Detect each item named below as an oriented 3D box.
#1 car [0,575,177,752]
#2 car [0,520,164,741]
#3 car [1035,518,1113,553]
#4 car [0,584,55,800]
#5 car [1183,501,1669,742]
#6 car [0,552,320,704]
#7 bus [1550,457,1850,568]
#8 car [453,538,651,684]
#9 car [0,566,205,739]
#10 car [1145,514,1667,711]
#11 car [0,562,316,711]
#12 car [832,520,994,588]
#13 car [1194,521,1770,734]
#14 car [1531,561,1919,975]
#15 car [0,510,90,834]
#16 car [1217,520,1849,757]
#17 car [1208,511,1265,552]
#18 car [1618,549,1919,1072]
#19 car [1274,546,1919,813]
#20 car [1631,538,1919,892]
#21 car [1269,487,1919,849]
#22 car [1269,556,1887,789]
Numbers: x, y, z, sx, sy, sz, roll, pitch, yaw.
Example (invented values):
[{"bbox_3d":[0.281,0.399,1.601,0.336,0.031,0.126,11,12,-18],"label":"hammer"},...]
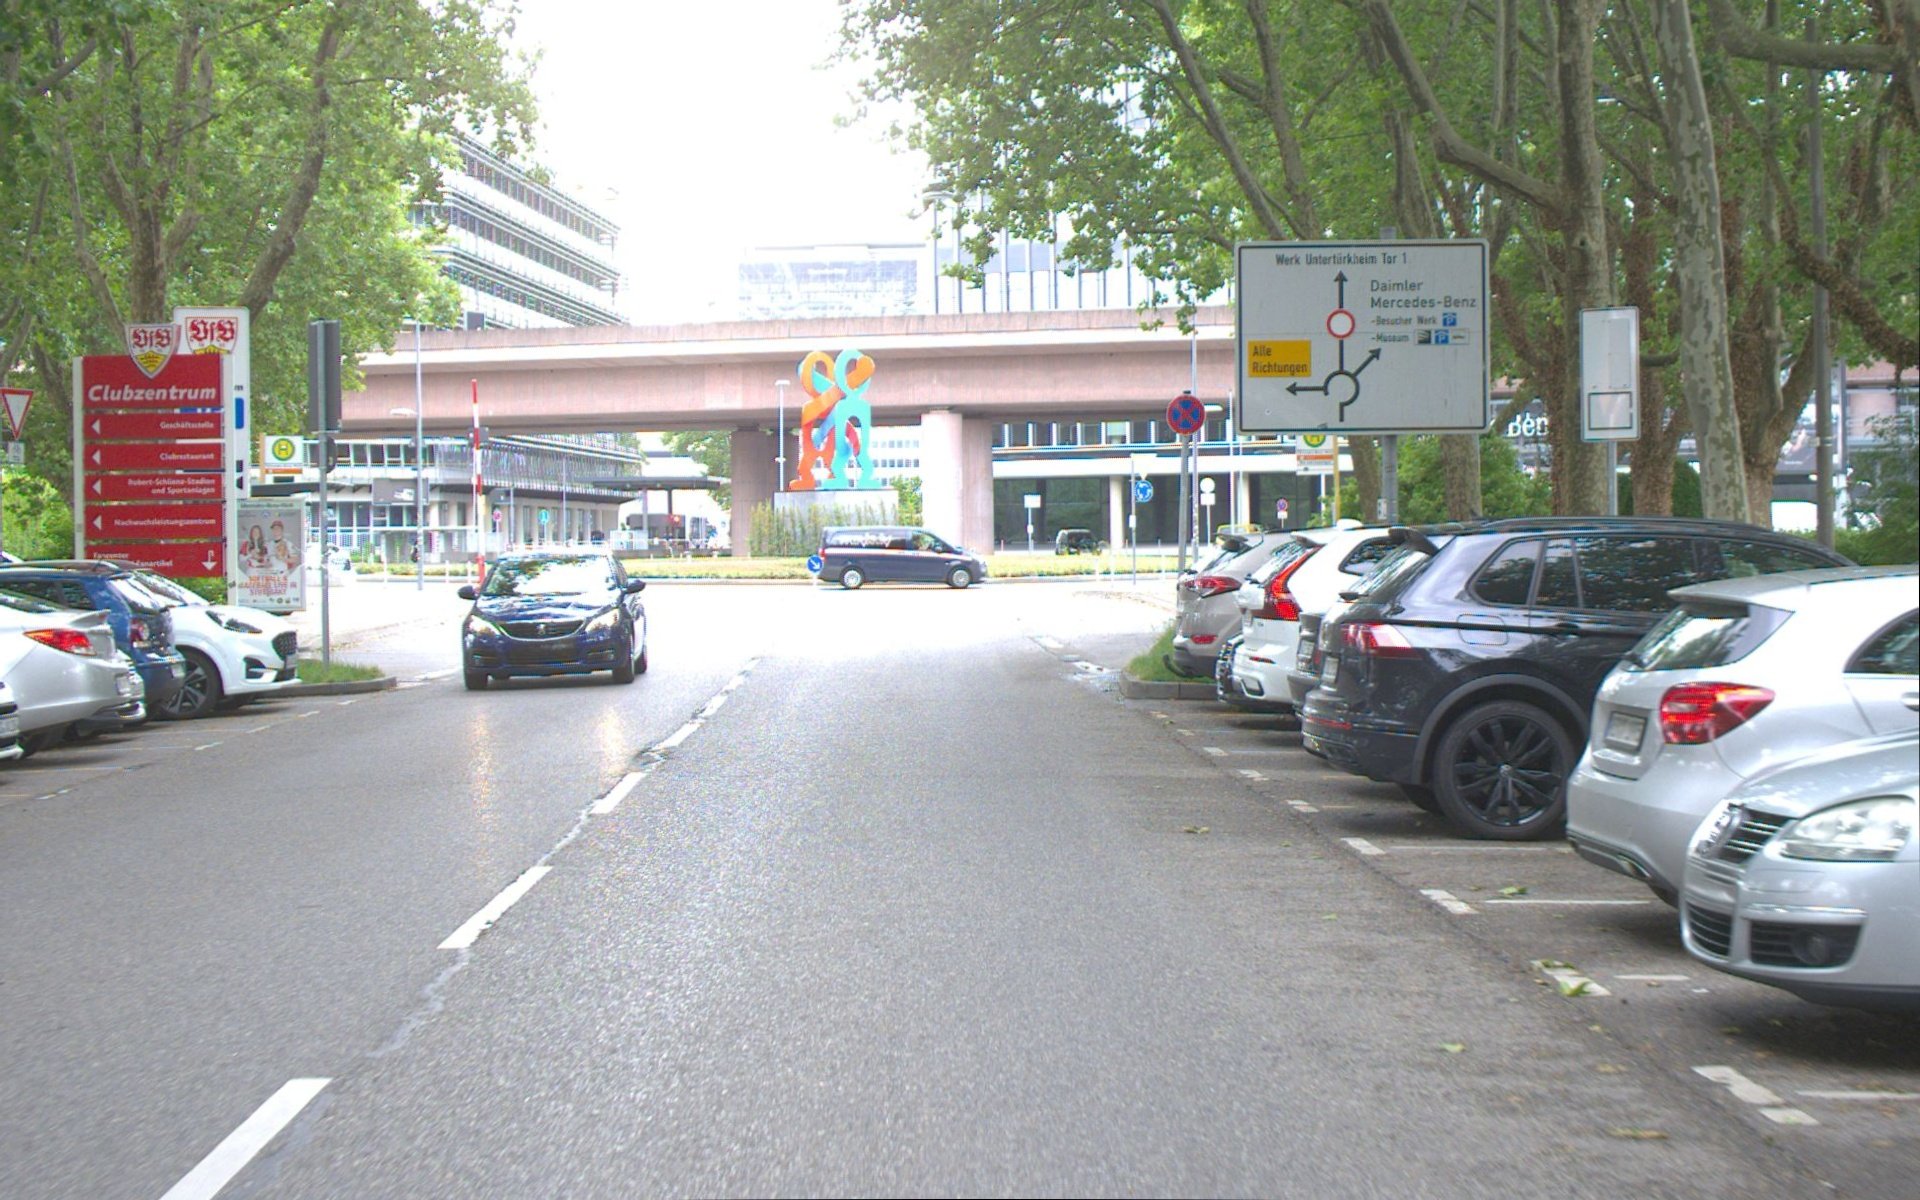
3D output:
[{"bbox_3d":[-8.645,0.495,28.296,3.987,1.400,1.862,0,1,-1],"label":"car"},{"bbox_3d":[-8.281,0.302,25.556,4.263,1.543,1.908,-3,1,-3],"label":"car"},{"bbox_3d":[5.766,-3.252,173.628,1.998,1.766,3.991,1,1,38],"label":"car"},{"bbox_3d":[-8.264,0.593,22.937,3.986,1.399,1.886,0,1,-2],"label":"car"},{"bbox_3d":[4.061,0.159,30.456,3.987,2.006,2.000,1,2,0],"label":"car"},{"bbox_3d":[-8.800,0.270,35.635,3.994,1.535,1.805,0,1,1],"label":"car"},{"bbox_3d":[27.042,-3.138,125.510,11.045,3.921,2.759,0,1,-22],"label":"bus"},{"bbox_3d":[-4.373,0.092,37.378,1.842,1.504,4.015,0,1,-2],"label":"car"},{"bbox_3d":[-8.925,0.446,30.690,3.993,1.488,1.832,0,1,-1],"label":"car"},{"bbox_3d":[3.889,0.084,30.540,4.346,1.628,1.926,1,2,0],"label":"car"},{"bbox_3d":[-8.421,0.331,33.228,3.994,1.380,1.911,0,1,3],"label":"car"},{"bbox_3d":[-1.420,-1.386,103.117,4.767,2.007,2.284,0,1,-3],"label":"car"},{"bbox_3d":[4.160,0.195,27.924,4.346,1.599,1.926,1,2,0],"label":"car"},{"bbox_3d":[4.169,0.604,13.033,3.639,1.422,1.666,1,2,-4],"label":"car"},{"bbox_3d":[-7.501,0.467,20.055,4.317,1.804,1.868,-2,1,-1],"label":"car"},{"bbox_3d":[4.178,0.256,25.593,4.346,1.628,1.926,1,2,0],"label":"car"},{"bbox_3d":[13.568,-3.348,168.700,1.995,2.007,3.997,0,1,16],"label":"car"},{"bbox_3d":[4.266,0.603,10.500,4.148,1.453,1.727,1,1,0],"label":"car"},{"bbox_3d":[4.184,0.449,20.557,4.346,1.451,1.950,1,2,-2],"label":"car"},{"bbox_3d":[4.987,0.451,15.748,3.434,1.487,1.680,-2,1,-2],"label":"car"},{"bbox_3d":[3.938,0.335,18.157,4.346,1.755,1.926,1,1,-2],"label":"car"},{"bbox_3d":[4.041,0.454,22.913,3.730,1.398,1.776,1,1,-2],"label":"car"}]
